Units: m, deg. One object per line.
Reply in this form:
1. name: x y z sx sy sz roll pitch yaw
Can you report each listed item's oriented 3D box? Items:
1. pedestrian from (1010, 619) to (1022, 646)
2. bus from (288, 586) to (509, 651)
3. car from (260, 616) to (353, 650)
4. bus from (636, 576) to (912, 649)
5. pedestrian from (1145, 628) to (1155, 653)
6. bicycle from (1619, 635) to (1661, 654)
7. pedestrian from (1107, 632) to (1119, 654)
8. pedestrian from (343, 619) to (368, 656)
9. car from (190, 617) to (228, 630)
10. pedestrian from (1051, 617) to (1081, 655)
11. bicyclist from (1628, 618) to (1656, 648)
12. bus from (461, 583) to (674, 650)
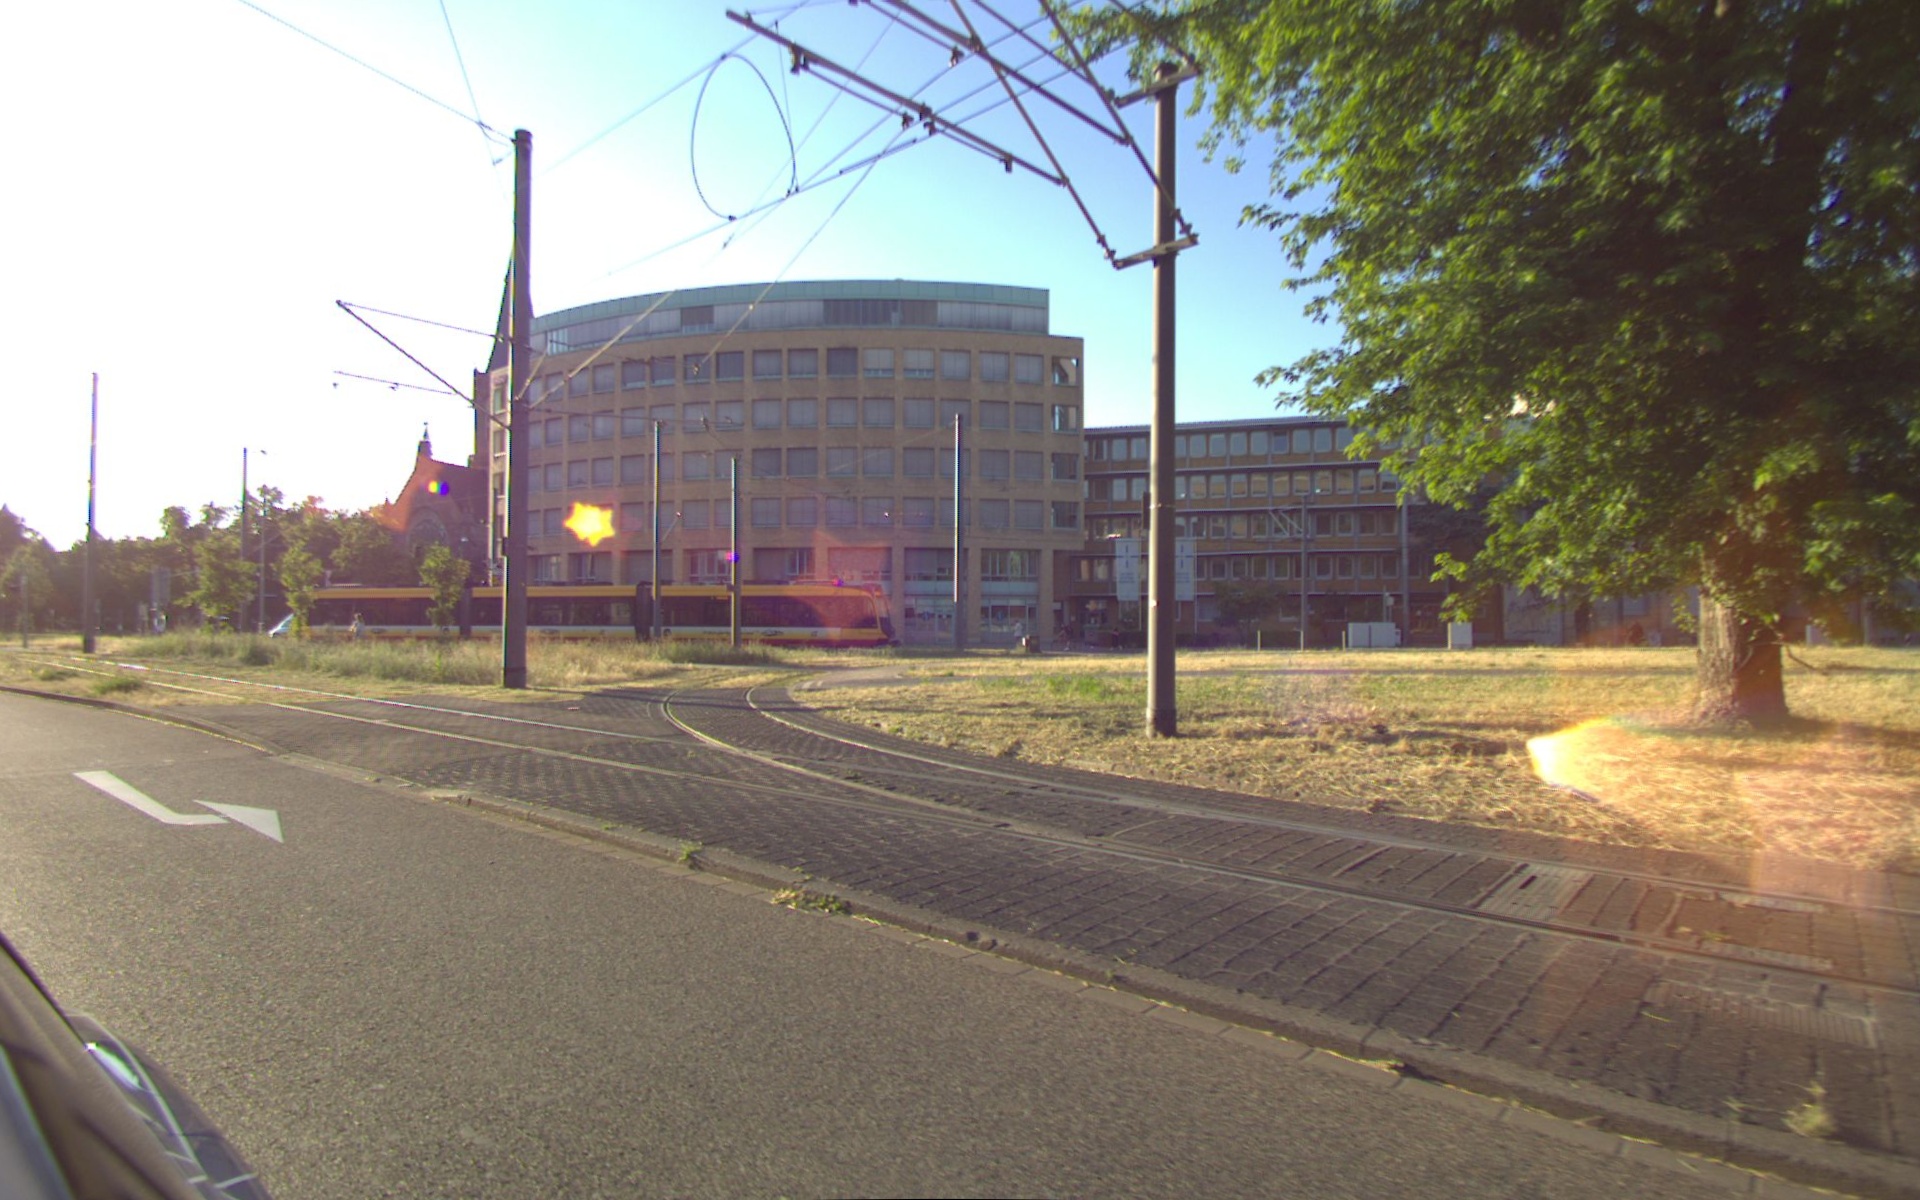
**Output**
1. pedestrian: 3.561 2.059 64.252 0.614 1.705 0.527 -1 -1 23
2. bus: -32.143 1.100 57.981 12.023 3.482 3.741 -1 -1 16
3. car: -58.472 2.927 90.778 2.289 2.900 7.159 -1 -2 17
4. bus: -9.491 0.681 51.994 13.571 3.388 3.746 -1 -1 12
5. pedestrian: 11.763 2.507 62.601 0.571 1.550 0.564 -1 -1 14
6. bicycle: 38.584 2.535 57.430 2.167 1.018 0.473 -1 -1 -6
7. pedestrian: 9.477 2.641 62.534 0.676 1.334 0.565 -1 -1 11
8. pedestrian: -24.822 1.542 41.527 0.698 1.470 0.664 -2 -1 36
9. car: -113.095 3.587 152.421 4.065 1.836 2.004 -1 -1 -10
10. pedestrian: 6.086 2.067 58.179 1.611 2.110 1.059 -1 -1 2
11. bicyclist: 38.712 1.855 57.460 0.884 1.703 0.954 -1 -1 -6
12. bus: -21.255 0.937 54.904 10.636 3.356 3.742 -1 -1 15
